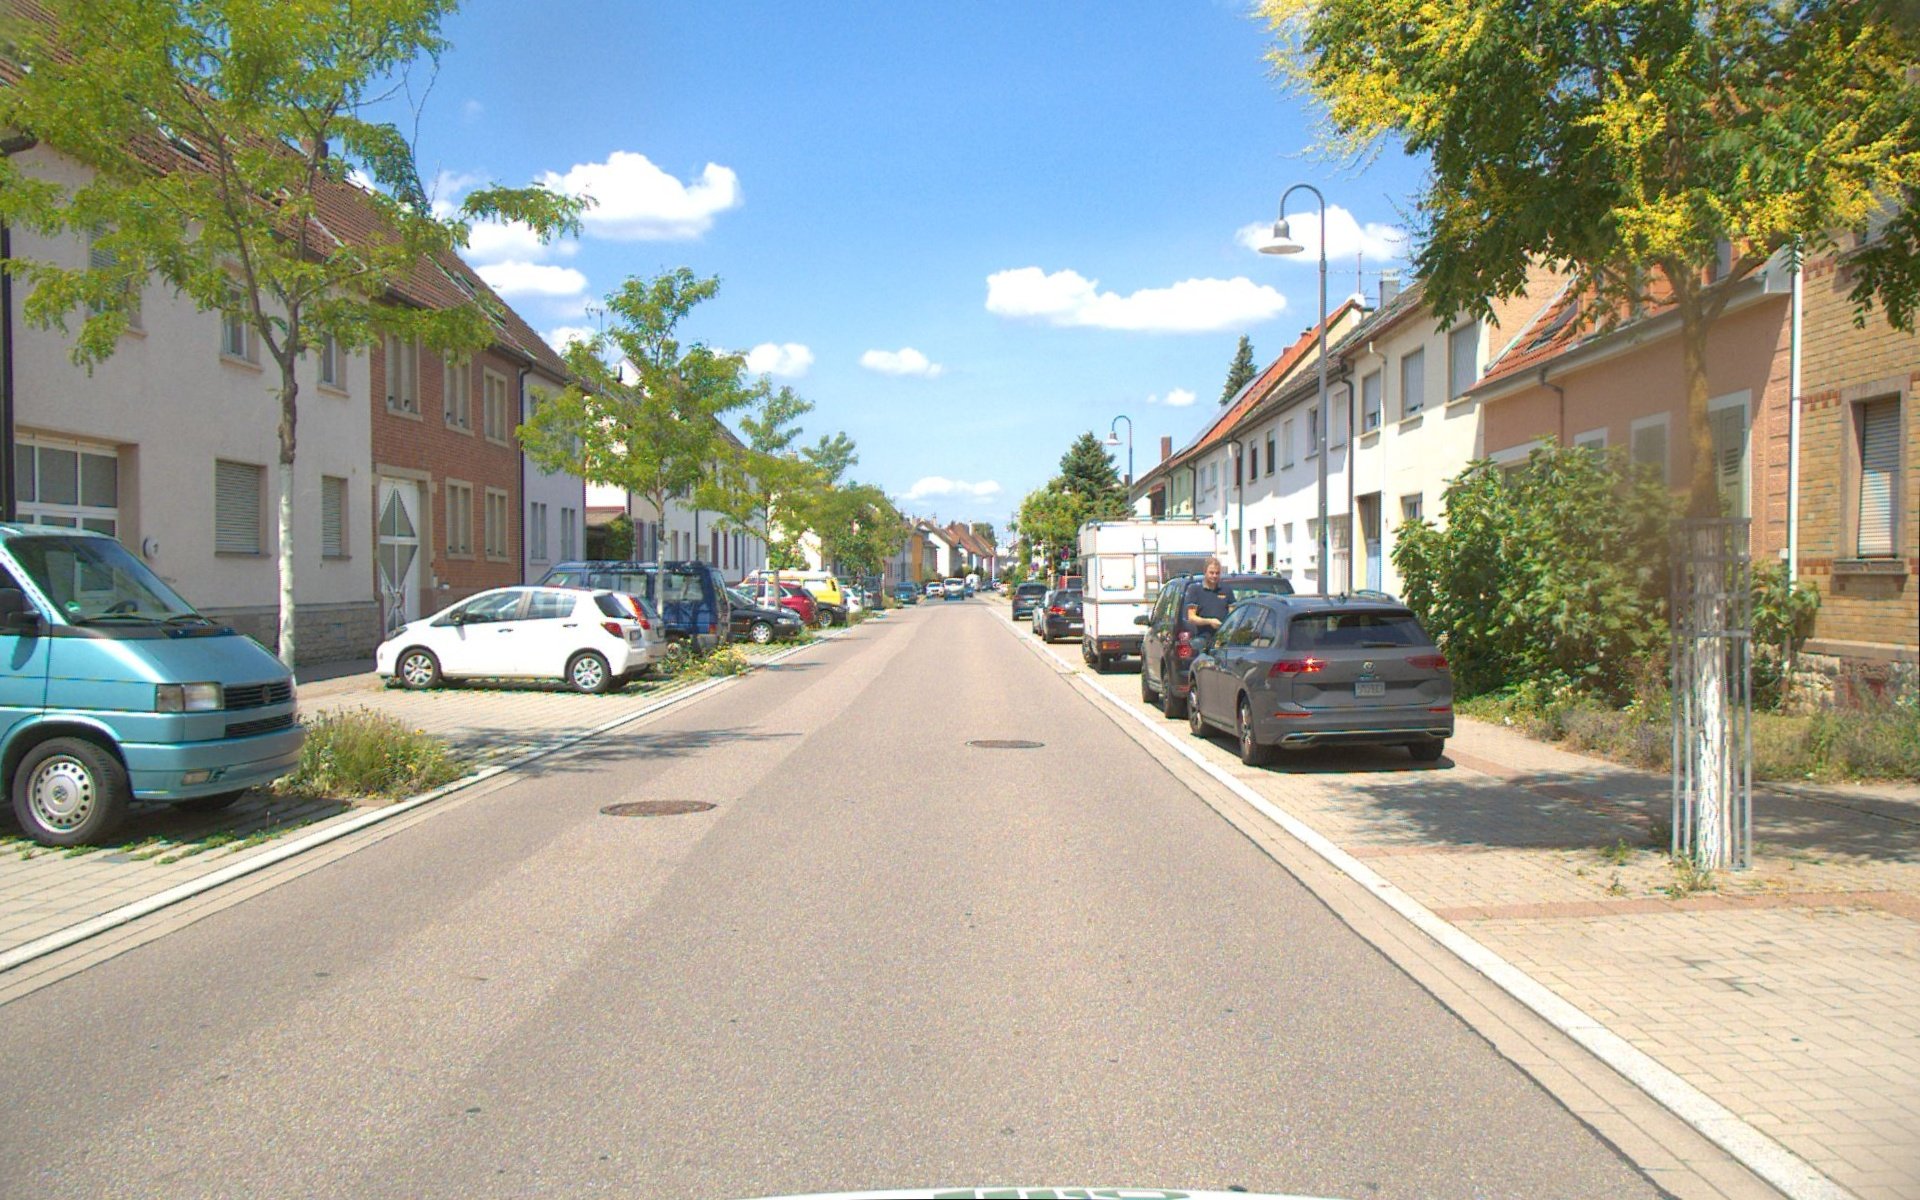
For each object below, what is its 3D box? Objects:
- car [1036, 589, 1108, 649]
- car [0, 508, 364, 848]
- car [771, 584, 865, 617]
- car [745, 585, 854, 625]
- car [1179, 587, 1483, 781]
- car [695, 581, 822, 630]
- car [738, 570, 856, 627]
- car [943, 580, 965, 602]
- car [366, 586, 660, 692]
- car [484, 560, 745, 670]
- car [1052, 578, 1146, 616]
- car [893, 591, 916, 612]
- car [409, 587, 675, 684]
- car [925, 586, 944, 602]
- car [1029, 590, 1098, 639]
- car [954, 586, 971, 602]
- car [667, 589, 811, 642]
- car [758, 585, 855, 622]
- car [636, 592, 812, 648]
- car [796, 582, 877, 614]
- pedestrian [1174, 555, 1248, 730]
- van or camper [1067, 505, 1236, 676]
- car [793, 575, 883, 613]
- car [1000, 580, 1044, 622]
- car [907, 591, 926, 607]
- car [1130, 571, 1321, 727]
[{"bbox_3d":[3.082,0.498,46.217,1.730,1.556,4.007,-1,1,0],"label":"car"},{"bbox_3d":[-6.449,0.435,10.488,4.580,1.940,2.000,0,0,0],"label":"car"},{"bbox_3d":[-6.637,0.015,77.586,4.206,1.493,1.774,0,0,2],"label":"car"},{"bbox_3d":[-6.049,0.187,62.607,3.928,1.485,1.755,0,0,0],"label":"car"},{"bbox_3d":[3.251,0.649,15.354,1.731,1.514,4.295,-1,1,-2],"label":"car"},{"bbox_3d":[-6.921,0.180,57.128,4.166,1.639,1.842,0,0,-1],"label":"car"},{"bbox_3d":[-6.370,-0.075,65.046,4.416,2.215,1.925,0,0,0],"label":"car"},{"bbox_3d":[-0.550,-0.806,153.545,1.981,1.984,4.897,-1,0,-1],"label":"car"},{"bbox_3d":[-6.535,0.551,24.472,3.835,1.514,1.773,0,0,2],"label":"car"},{"bbox_3d":[-6.516,0.273,31.555,4.517,2.031,1.953,0,0,2],"label":"car"},{"bbox_3d":[6.988,-0.146,83.419,4.525,1.926,2.020,0,0,-1],"label":"car"},{"bbox_3d":[-4.433,0.140,132.306,1.780,1.458,4.138,3,2,-3],"label":"car"},{"bbox_3d":[-6.731,0.553,26.880,3.835,1.514,1.773,0,0,2],"label":"car"},{"bbox_3d":[-2.737,-0.658,181.204,1.811,1.688,4.002,1,1,3],"label":"car"},{"bbox_3d":[3.311,0.434,53.646,1.795,1.491,4.518,-1,1,-2],"label":"car"},{"bbox_3d":[0.296,-0.666,179.374,1.727,1.549,4.048,-3,1,-1],"label":"car"},{"bbox_3d":[-6.372,0.432,48.007,3.972,1.503,1.775,0,0,-3],"label":"car"},{"bbox_3d":[-6.484,0.140,69.572,3.996,1.493,1.750,0,0,-9],"label":"car"},{"bbox_3d":[-6.226,0.508,44.022,4.431,1.450,1.796,0,0,0],"label":"car"},{"bbox_3d":[-6.290,-0.101,84.466,4.100,1.596,1.772,0,0,-4],"label":"car"},{"bbox_3d":[2.761,0.459,18.232,0.702,1.885,0.578,-1,0,0],"label":"pedestrian"},{"bbox_3d":[3.496,-0.219,31.451,2.423,2.859,5.790,-2,1,0],"label":"van or camper"},{"bbox_3d":[-6.423,-0.308,87.381,4.604,1.957,1.938,0,0,0],"label":"car"},{"bbox_3d":[2.756,0.017,73.564,1.825,1.663,4.448,-3,1,2],"label":"car"},{"bbox_3d":[-4.454,-0.118,168.236,1.773,1.637,4.000,1,1,1],"label":"car"},{"bbox_3d":[3.223,0.529,20.852,1.730,1.734,4.325,-1,1,0],"label":"car"}]
